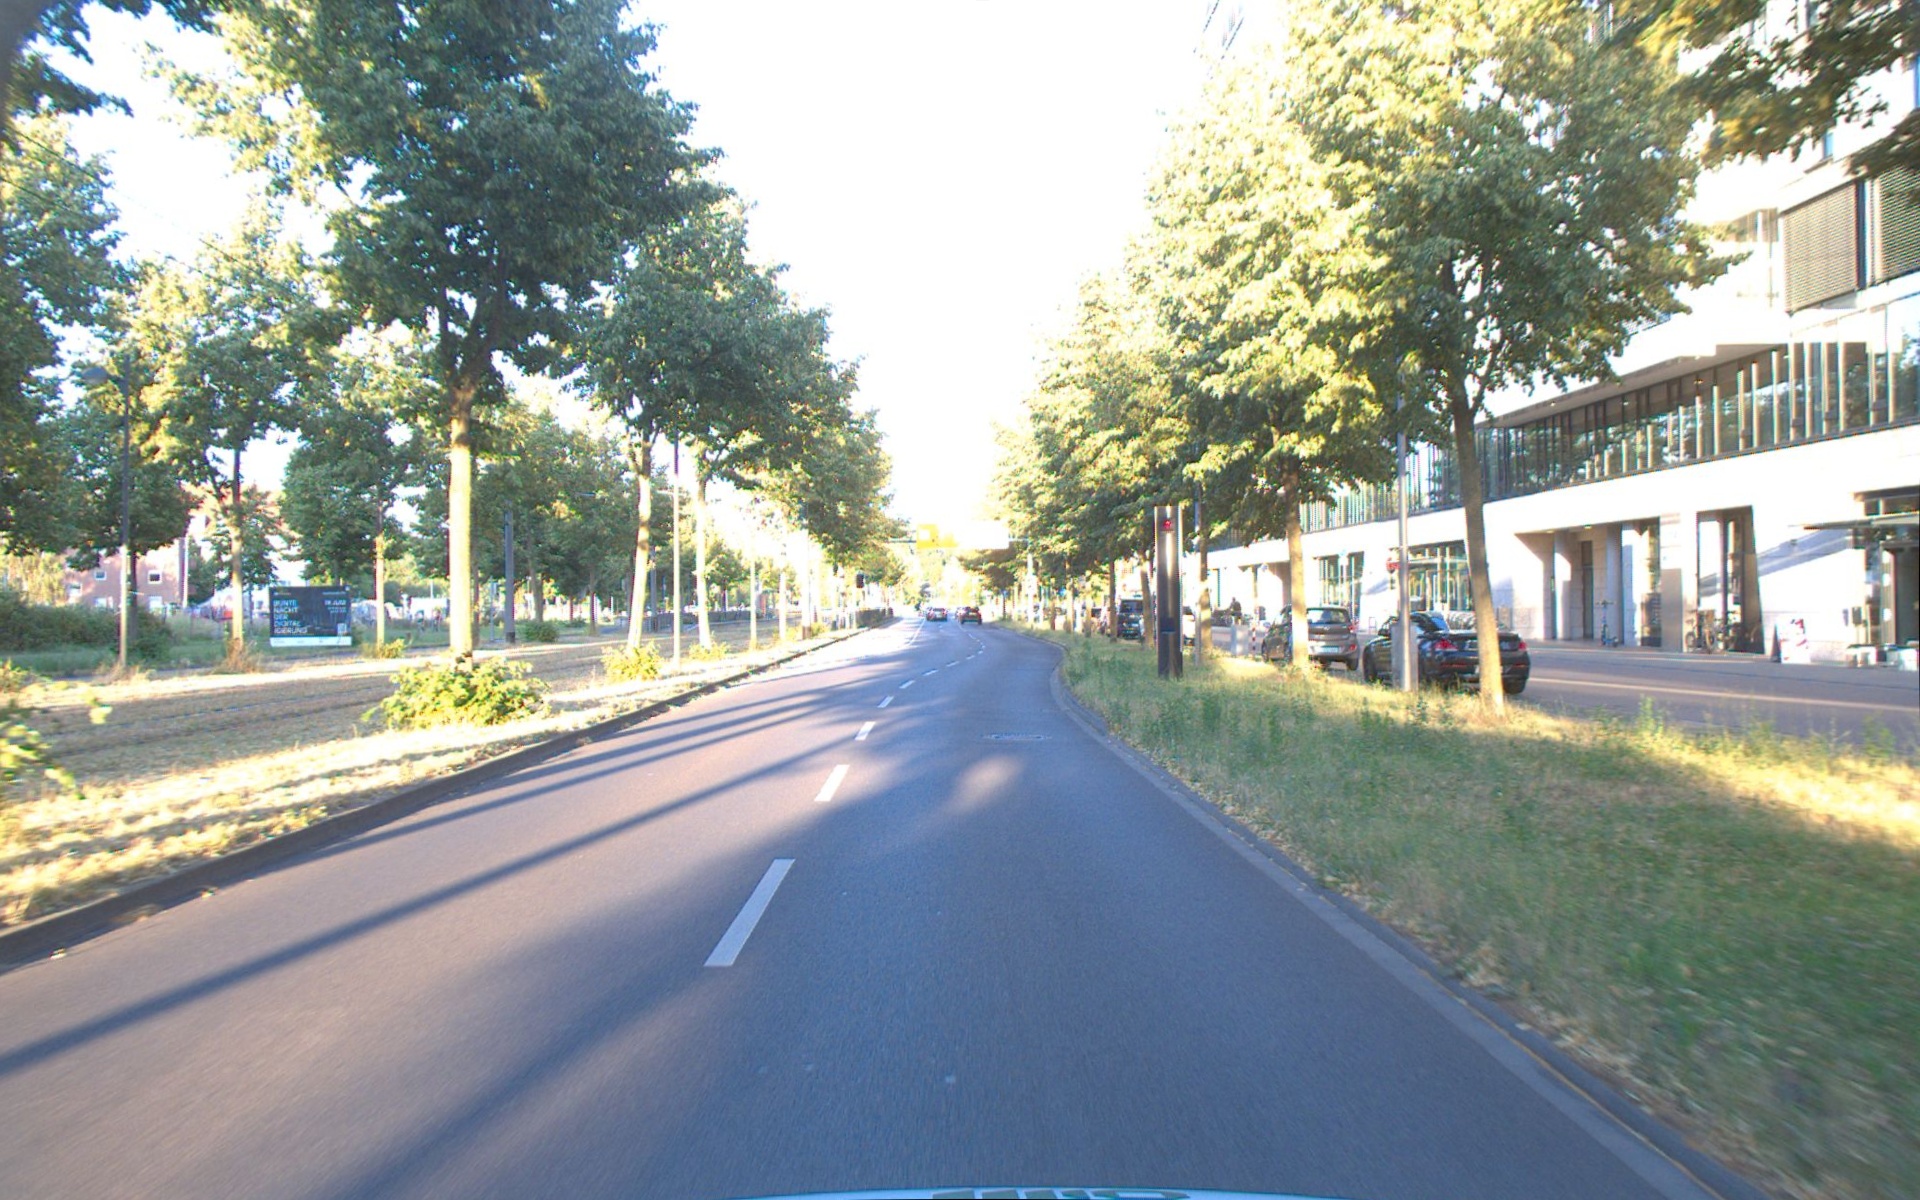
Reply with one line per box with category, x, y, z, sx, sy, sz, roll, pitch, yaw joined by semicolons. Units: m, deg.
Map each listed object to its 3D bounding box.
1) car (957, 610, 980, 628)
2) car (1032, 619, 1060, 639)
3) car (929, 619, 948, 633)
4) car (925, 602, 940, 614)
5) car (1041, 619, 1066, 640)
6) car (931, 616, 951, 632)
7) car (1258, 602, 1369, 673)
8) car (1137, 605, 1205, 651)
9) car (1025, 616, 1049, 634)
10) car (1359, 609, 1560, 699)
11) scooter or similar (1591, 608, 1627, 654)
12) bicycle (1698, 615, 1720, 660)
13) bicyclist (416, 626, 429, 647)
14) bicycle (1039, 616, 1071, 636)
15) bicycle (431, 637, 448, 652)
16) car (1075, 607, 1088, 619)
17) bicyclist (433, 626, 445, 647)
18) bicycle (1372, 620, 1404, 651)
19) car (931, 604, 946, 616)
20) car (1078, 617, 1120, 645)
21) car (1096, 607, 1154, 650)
car;0.726;1.652;141.871;1.873;1.512;3.998;-1;-1;-2
car;6.715;2.273;128.981;1.742;1.498;4.285;-1;-1;-3
car;-2.290;2.707;172.717;1.873;1.512;3.998;-1;-1;-2
car;-3.755;1.083;224.299;1.873;1.512;3.998;-1;-1;-2
car;6.903;2.160;122.233;1.543;1.498;3.881;-1;-1;0
car;-1.905;2.367;164.941;1.873;1.512;3.998;-1;-1;-2
car;8.285;0.863;39.057;1.675;1.542;3.757;1;-1;-2
car;8.097;1.063;63.745;1.953;1.671;4.877;-1;-1;0
car;6.697;2.172;144.090;1.722;1.491;4.155;-1;-1;-3
car;8.594;0.878;28.926;1.815;1.391;4.831;-2;0;-3
scooter or similar;17.931;0.859;45.716;0.462;1.232;1.228;-1;-1;0
bicycle;18.001;0.889;39.731;0.444;1.046;1.392;-1;-1;25
bicyclist;-37.288;2.518;114.728;0.607;1.446;0.937;-1;-1;-3
bicycle;5.818;1.593;101.363;1.906;1.072;0.544;3;-1;-9
bicycle;-36.990;3.155;117.519;0.607;1.029;2.082;-1;-1;-3
car;18.926;2.079;258.060;1.952;1.758;4.001;-1;-1;2
bicyclist;-36.982;2.614;117.404;0.607;1.482;0.937;-1;-1;-3
bicycle;14.793;1.226;57.174;0.582;1.057;1.892;-1;-1;0
car;-2.743;1.233;209.063;1.873;1.512;3.998;-1;-1;-2
car;7.463;1.673;89.002;1.830;1.436;4.645;-1;-1;0
car;7.562;1.297;76.110;1.954;1.884;4.662;-1;-1;-3
